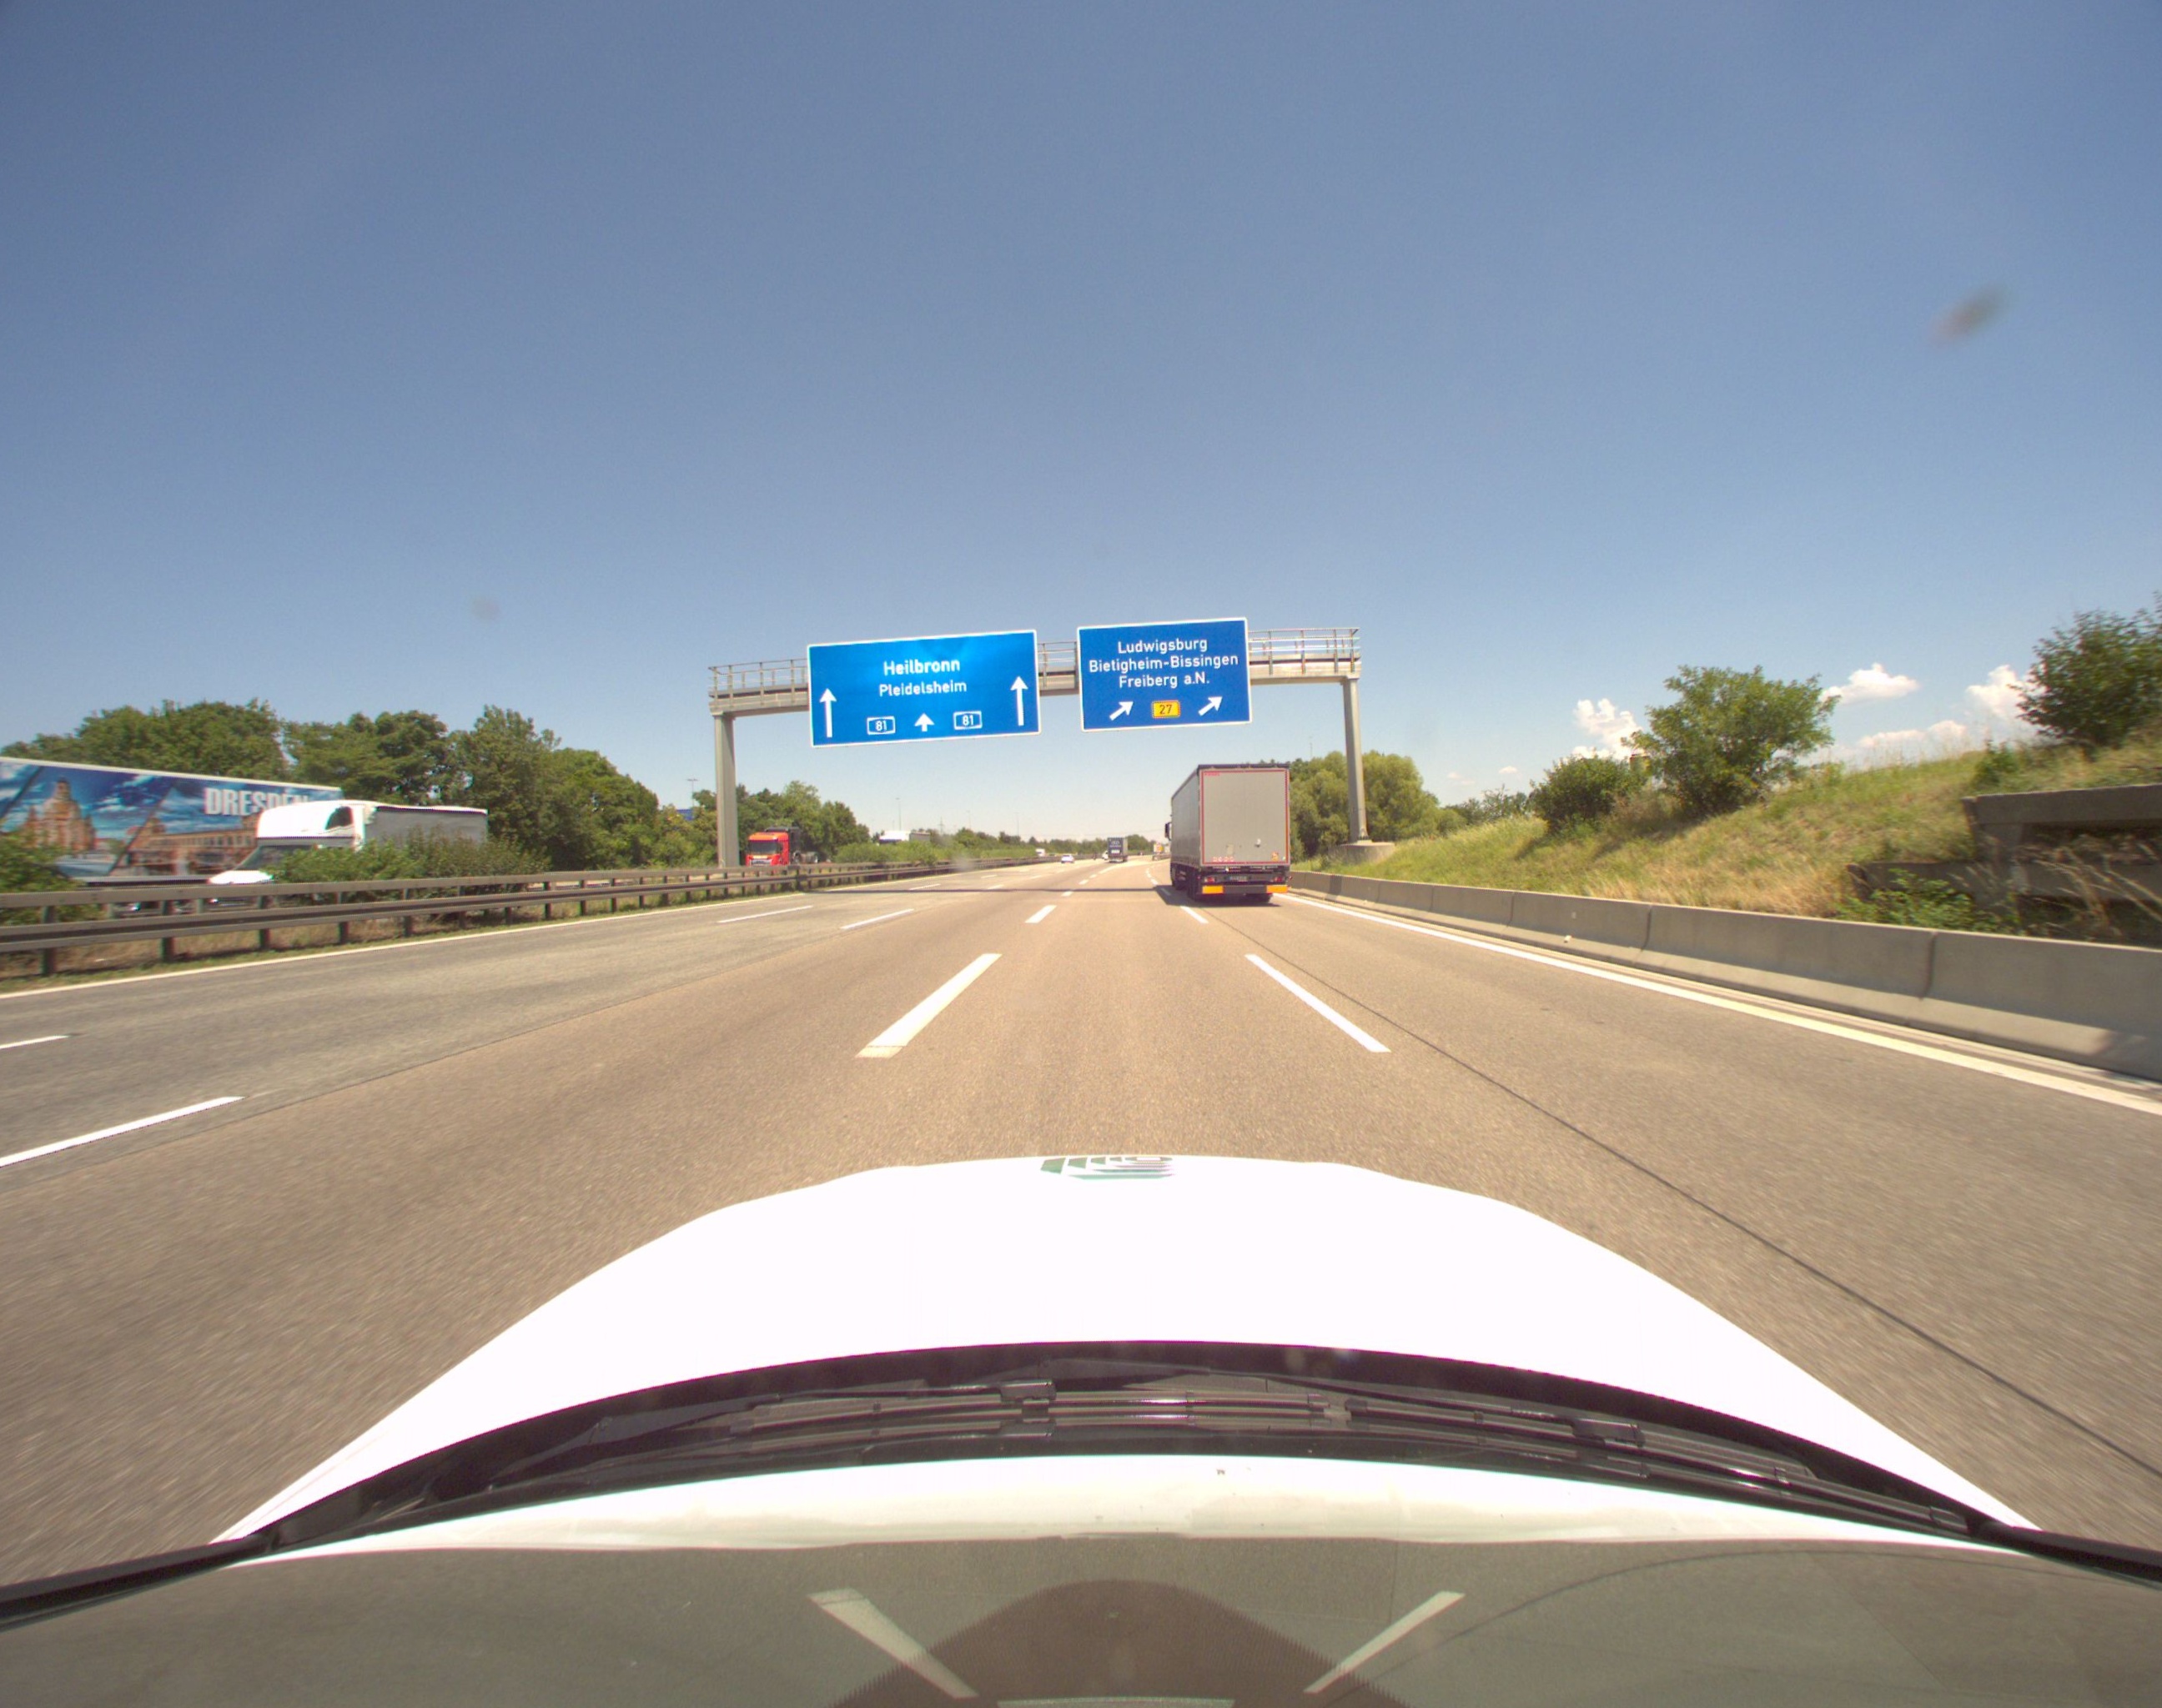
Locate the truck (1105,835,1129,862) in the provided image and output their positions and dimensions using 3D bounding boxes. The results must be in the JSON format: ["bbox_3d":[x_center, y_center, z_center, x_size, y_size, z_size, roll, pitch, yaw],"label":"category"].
[{"bbox_3d":[6.038,-0.830,136.413,3.732,4.270,14.505,-1,0,3],"label":"truck"}]

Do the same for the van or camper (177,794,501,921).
[{"bbox_3d":[-21.854,0.091,24.826,2.465,3.220,7.826,-1,0,2],"label":"van or camper"}]

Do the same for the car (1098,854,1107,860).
[{"bbox_3d":[5.420,0.723,200.784,1.867,1.441,5.132,-1,-1,5],"label":"car"}]

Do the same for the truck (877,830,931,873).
[{"bbox_3d":[-18.216,-0.234,84.642,2.741,4.207,10.413,-1,0,4],"label":"truck"}]

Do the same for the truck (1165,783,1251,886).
[{"bbox_3d":[5.453,-0.844,36.278,2.916,4.015,7.590,-2,1,3],"label":"truck"}]

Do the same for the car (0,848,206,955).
[{"bbox_3d":[-18.646,0.789,13.898,2.107,1.753,4.830,-1,0,2],"label":"car"}]

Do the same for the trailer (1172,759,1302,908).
[{"bbox_3d":[4.964,-0.674,28.462,2.915,4.015,12.052,-2,1,4],"label":"trailer"}]

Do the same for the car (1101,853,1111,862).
[{"bbox_3d":[5.236,0.748,170.590,1.922,1.852,4.696,-2,-2,4],"label":"car"}]

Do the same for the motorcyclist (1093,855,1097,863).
[{"bbox_3d":[2.943,0.998,171.810,0.890,1.597,1.300,-2,-2,2],"label":"motorcyclist"}]

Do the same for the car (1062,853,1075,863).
[{"bbox_3d":[-1.971,0.678,129.653,1.774,1.440,4.672,-1,-1,3],"label":"car"}]

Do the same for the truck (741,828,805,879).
[{"bbox_3d":[-23.710,-0.039,62.911,2.741,3.793,5.107,-1,0,3],"label":"truck"}]

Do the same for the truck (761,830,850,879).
[{"bbox_3d":[-23.247,0.016,69.715,2.741,3.793,12.341,-1,0,4],"label":"truck"}]

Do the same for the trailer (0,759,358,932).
[{"bbox_3d":[-25.319,-0.182,20.112,1.986,3.922,14.009,-1,0,2],"label":"trailer"}]
